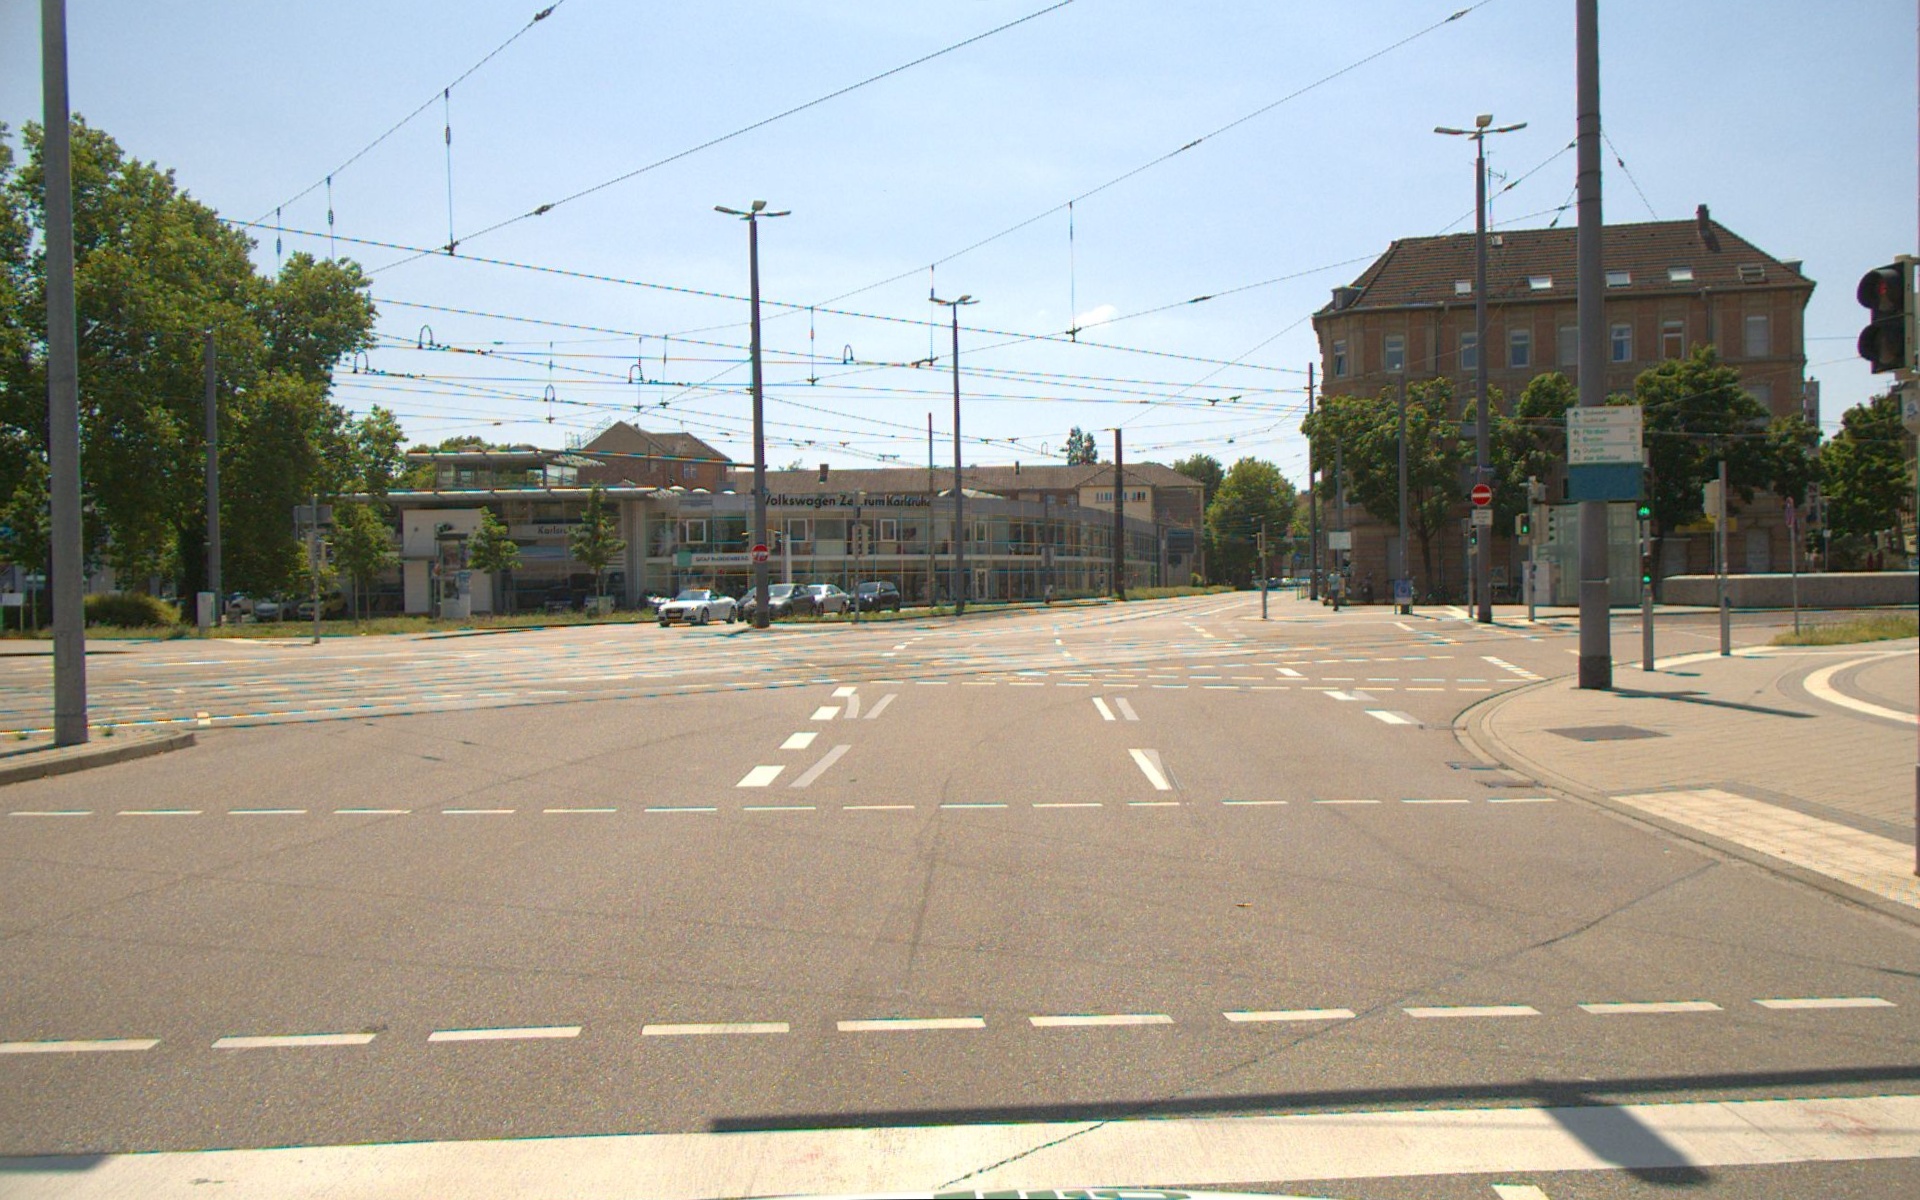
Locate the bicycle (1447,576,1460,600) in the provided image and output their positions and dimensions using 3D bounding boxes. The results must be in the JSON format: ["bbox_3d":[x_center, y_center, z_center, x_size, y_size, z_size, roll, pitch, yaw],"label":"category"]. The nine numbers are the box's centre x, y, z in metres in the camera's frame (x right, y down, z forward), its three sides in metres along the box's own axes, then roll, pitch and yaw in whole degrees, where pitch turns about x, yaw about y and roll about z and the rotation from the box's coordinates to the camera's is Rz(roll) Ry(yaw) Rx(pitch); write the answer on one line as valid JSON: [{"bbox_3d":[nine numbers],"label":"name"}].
[{"bbox_3d":[23.515,-0.589,78.828,0.539,1.139,1.822,-1,0,15],"label":"bicycle"}]

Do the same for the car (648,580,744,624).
[{"bbox_3d":[-10.159,0.050,64.029,2.032,1.607,4.850,-1,1,13],"label":"car"}]

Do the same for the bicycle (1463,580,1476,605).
[{"bbox_3d":[24.233,-0.369,78.702,0.539,1.139,1.891,-1,1,15],"label":"bicycle"}]

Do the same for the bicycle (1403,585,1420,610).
[{"bbox_3d":[21.670,-0.128,79.457,0.433,1.166,2.095,1,0,6],"label":"bicycle"}]

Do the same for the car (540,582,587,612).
[{"bbox_3d":[-23.859,-0.141,99.682,1.881,1.737,4.000,1,0,0],"label":"car"}]

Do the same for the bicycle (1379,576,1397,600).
[{"bbox_3d":[20.559,-0.574,79.429,0.539,1.139,1.821,-1,0,5],"label":"bicycle"}]

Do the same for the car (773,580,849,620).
[{"bbox_3d":[-6.816,-0.025,76.162,1.951,1.770,4.546,-1,1,16],"label":"car"}]

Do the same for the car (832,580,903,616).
[{"bbox_3d":[-4.608,-0.136,83.053,2.034,1.712,4.850,-1,1,16],"label":"car"}]

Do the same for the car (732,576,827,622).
[{"bbox_3d":[-6.978,-0.071,64.389,1.951,1.666,4.850,-1,1,16],"label":"car"}]

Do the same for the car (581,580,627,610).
[{"bbox_3d":[-21.458,-0.300,99.742,1.881,1.737,4.000,1,0,0],"label":"car"}]

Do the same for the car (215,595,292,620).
[{"bbox_3d":[-45.437,0.485,106.411,4.279,1.536,1.750,-1,1,-36],"label":"car"}]

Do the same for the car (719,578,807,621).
[{"bbox_3d":[-8.321,-0.060,70.196,1.951,1.730,4.850,-1,1,16],"label":"car"}]

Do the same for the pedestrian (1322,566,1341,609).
[{"bbox_3d":[15.285,-0.520,68.064,0.455,1.738,0.634,-1,0,-27],"label":"pedestrian"}]

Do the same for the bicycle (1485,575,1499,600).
[{"bbox_3d":[25.435,-0.601,79.116,0.539,1.139,1.872,-1,0,15],"label":"bicycle"}]

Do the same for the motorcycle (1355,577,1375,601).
[{"bbox_3d":[19.450,-0.531,79.518,0.568,1.093,1.947,-1,0,3],"label":"motorcycle"}]

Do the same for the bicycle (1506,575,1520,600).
[{"bbox_3d":[26.507,-0.603,79.309,0.539,1.139,1.931,-1,0,15],"label":"bicycle"}]

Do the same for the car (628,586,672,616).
[{"bbox_3d":[-18.684,0.083,99.947,1.881,1.737,4.000,1,0,0],"label":"car"}]

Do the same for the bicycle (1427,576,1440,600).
[{"bbox_3d":[22.642,-0.593,79.068,0.539,1.139,1.822,-1,0,15],"label":"bicycle"}]

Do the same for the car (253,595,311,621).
[{"bbox_3d":[-41.375,0.462,101.025,1.731,1.536,4.327,-1,1,0],"label":"car"}]

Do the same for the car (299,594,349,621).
[{"bbox_3d":[-38.641,0.458,100.589,1.732,1.536,4.322,-1,1,-5],"label":"car"}]

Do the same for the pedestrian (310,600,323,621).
[{"bbox_3d":[-37.766,0.640,97.078,0.502,1.225,0.446,-1,0,5],"label":"pedestrian"}]
